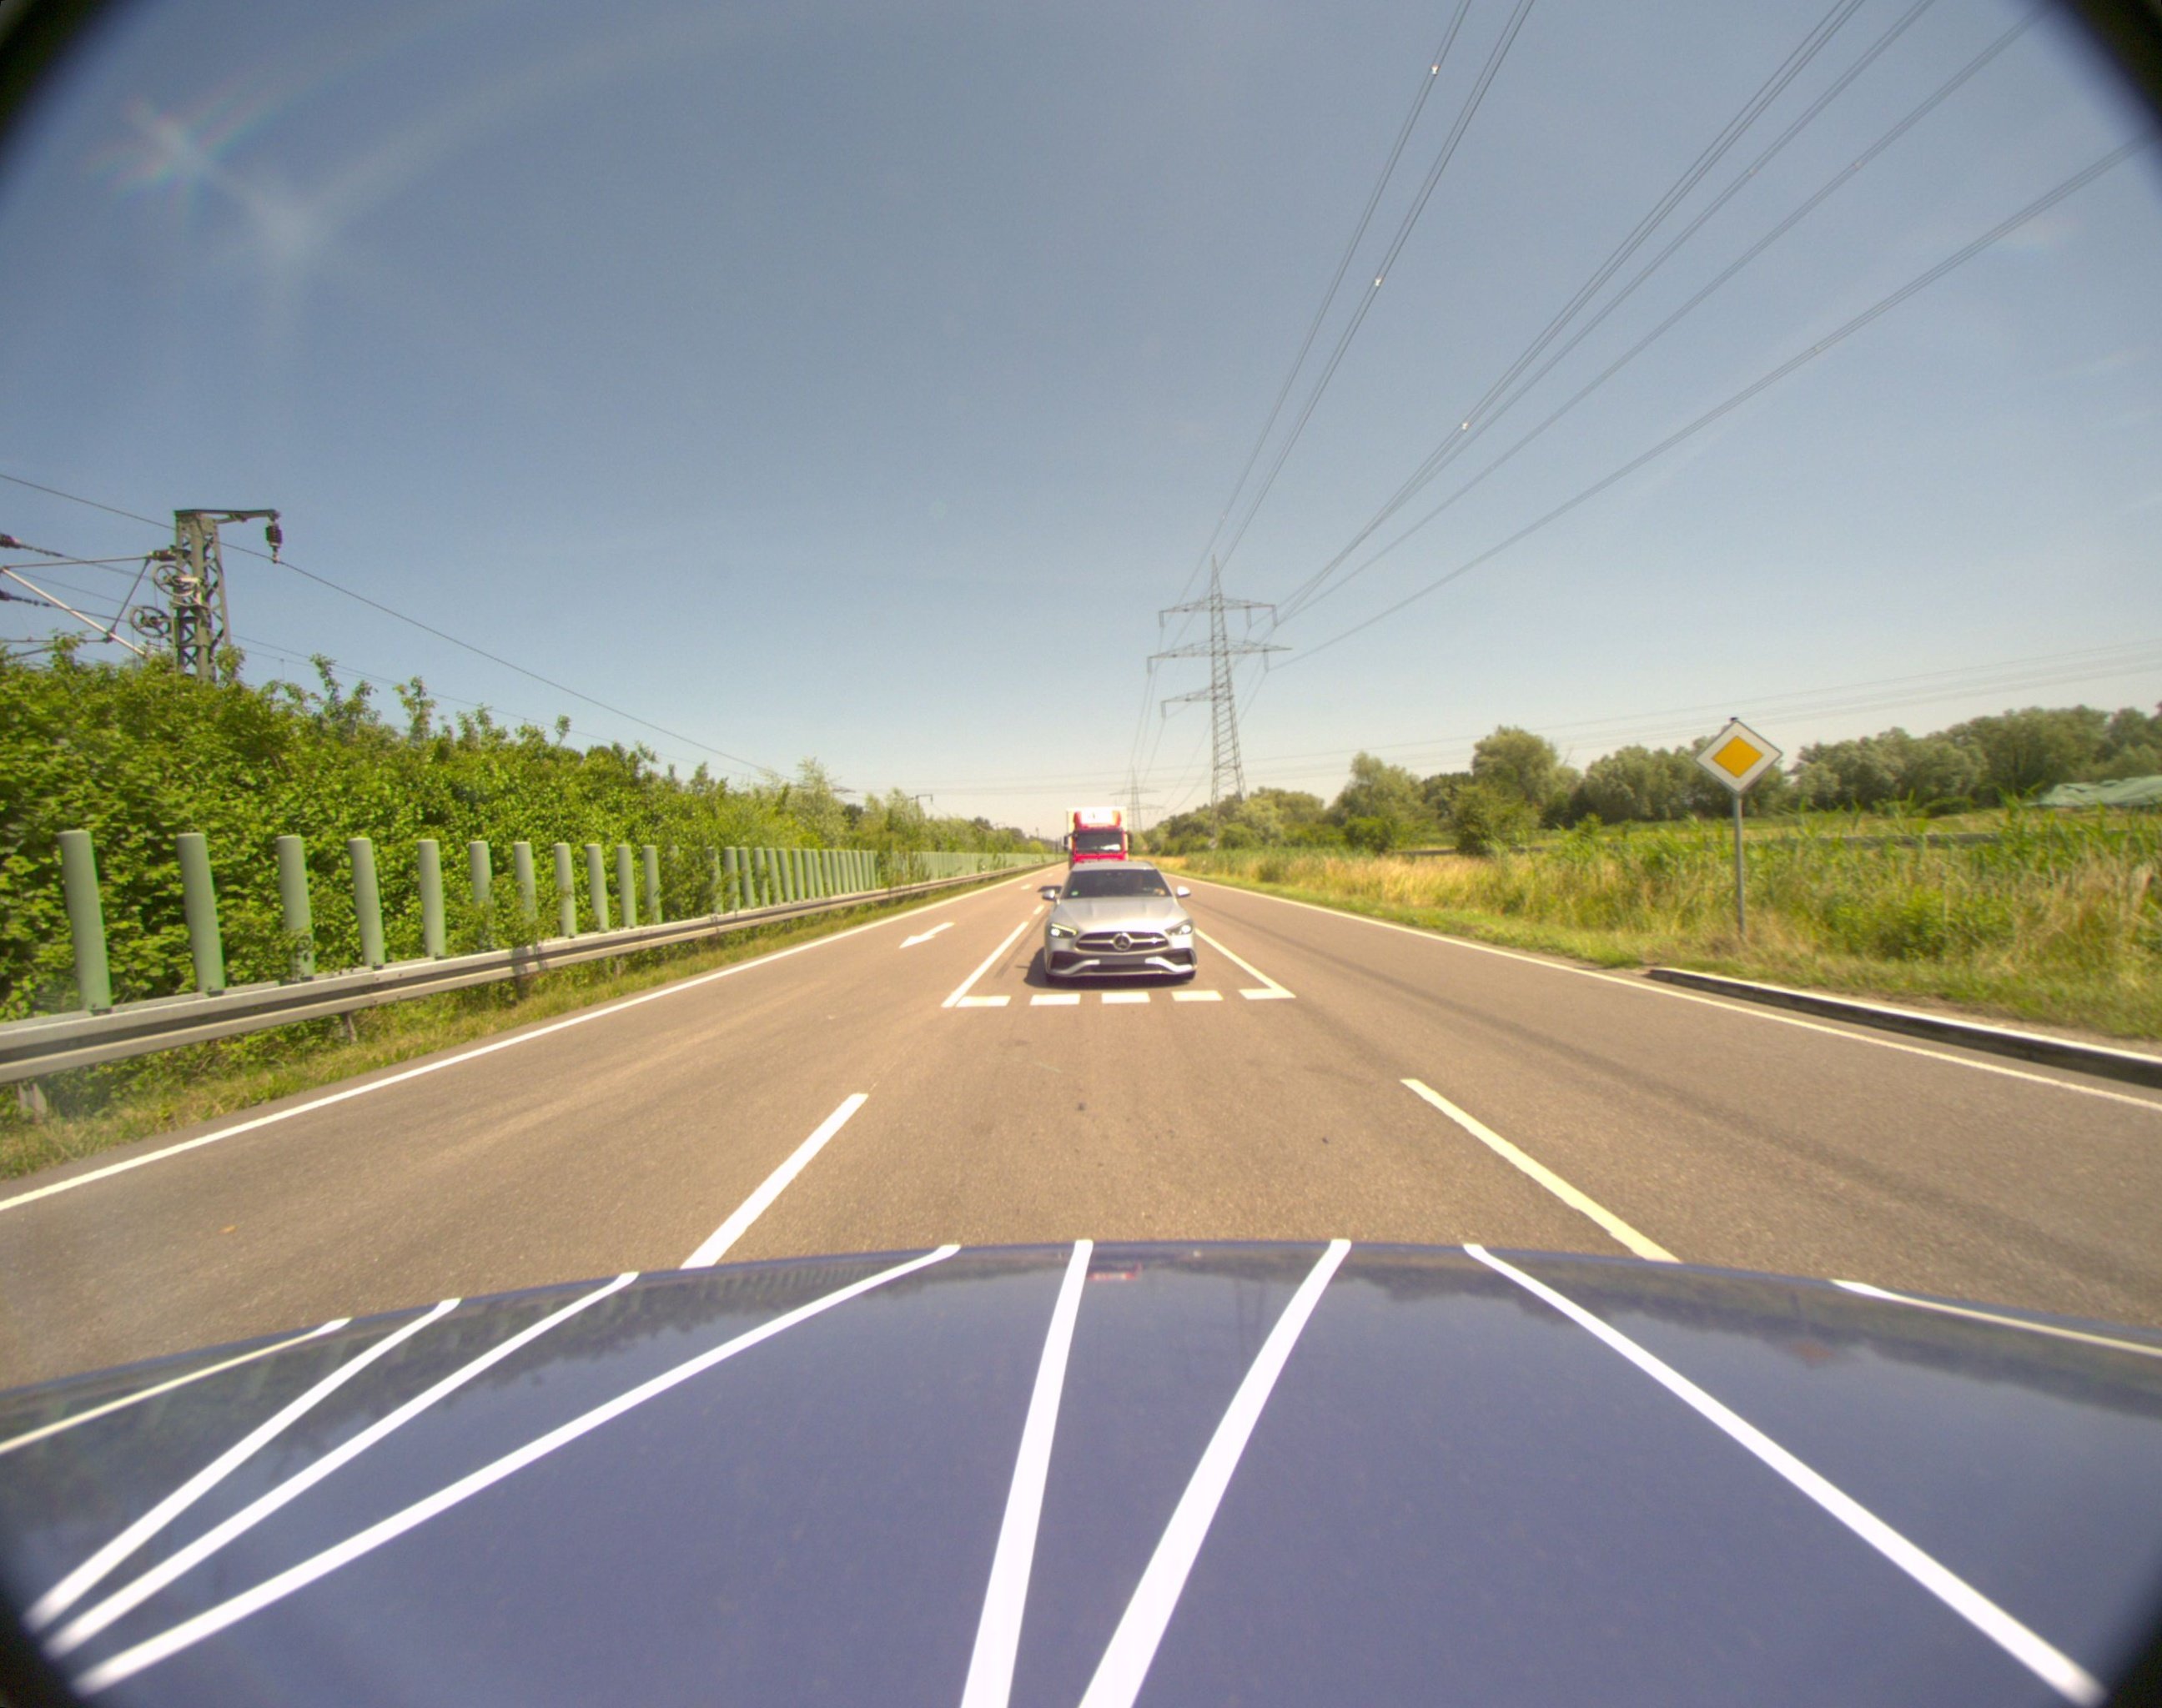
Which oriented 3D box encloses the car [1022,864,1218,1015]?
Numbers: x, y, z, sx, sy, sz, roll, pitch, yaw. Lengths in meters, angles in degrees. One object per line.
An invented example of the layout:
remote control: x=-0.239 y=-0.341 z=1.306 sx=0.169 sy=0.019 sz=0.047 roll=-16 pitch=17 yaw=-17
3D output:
car: x=0.447 y=0.926 z=10.162 sx=1.998 sy=1.437 sz=4.467 roll=-2 pitch=0 yaw=1

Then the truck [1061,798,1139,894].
truck: x=0.796 y=-0.325 z=33.949 sx=2.907 sy=3.641 sz=7.156 roll=-4 pitch=0 yaw=1

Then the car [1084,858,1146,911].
car: x=1.014 y=0.868 z=23.611 sx=1.697 sy=1.385 sz=4.468 roll=-2 pitch=0 yaw=2
